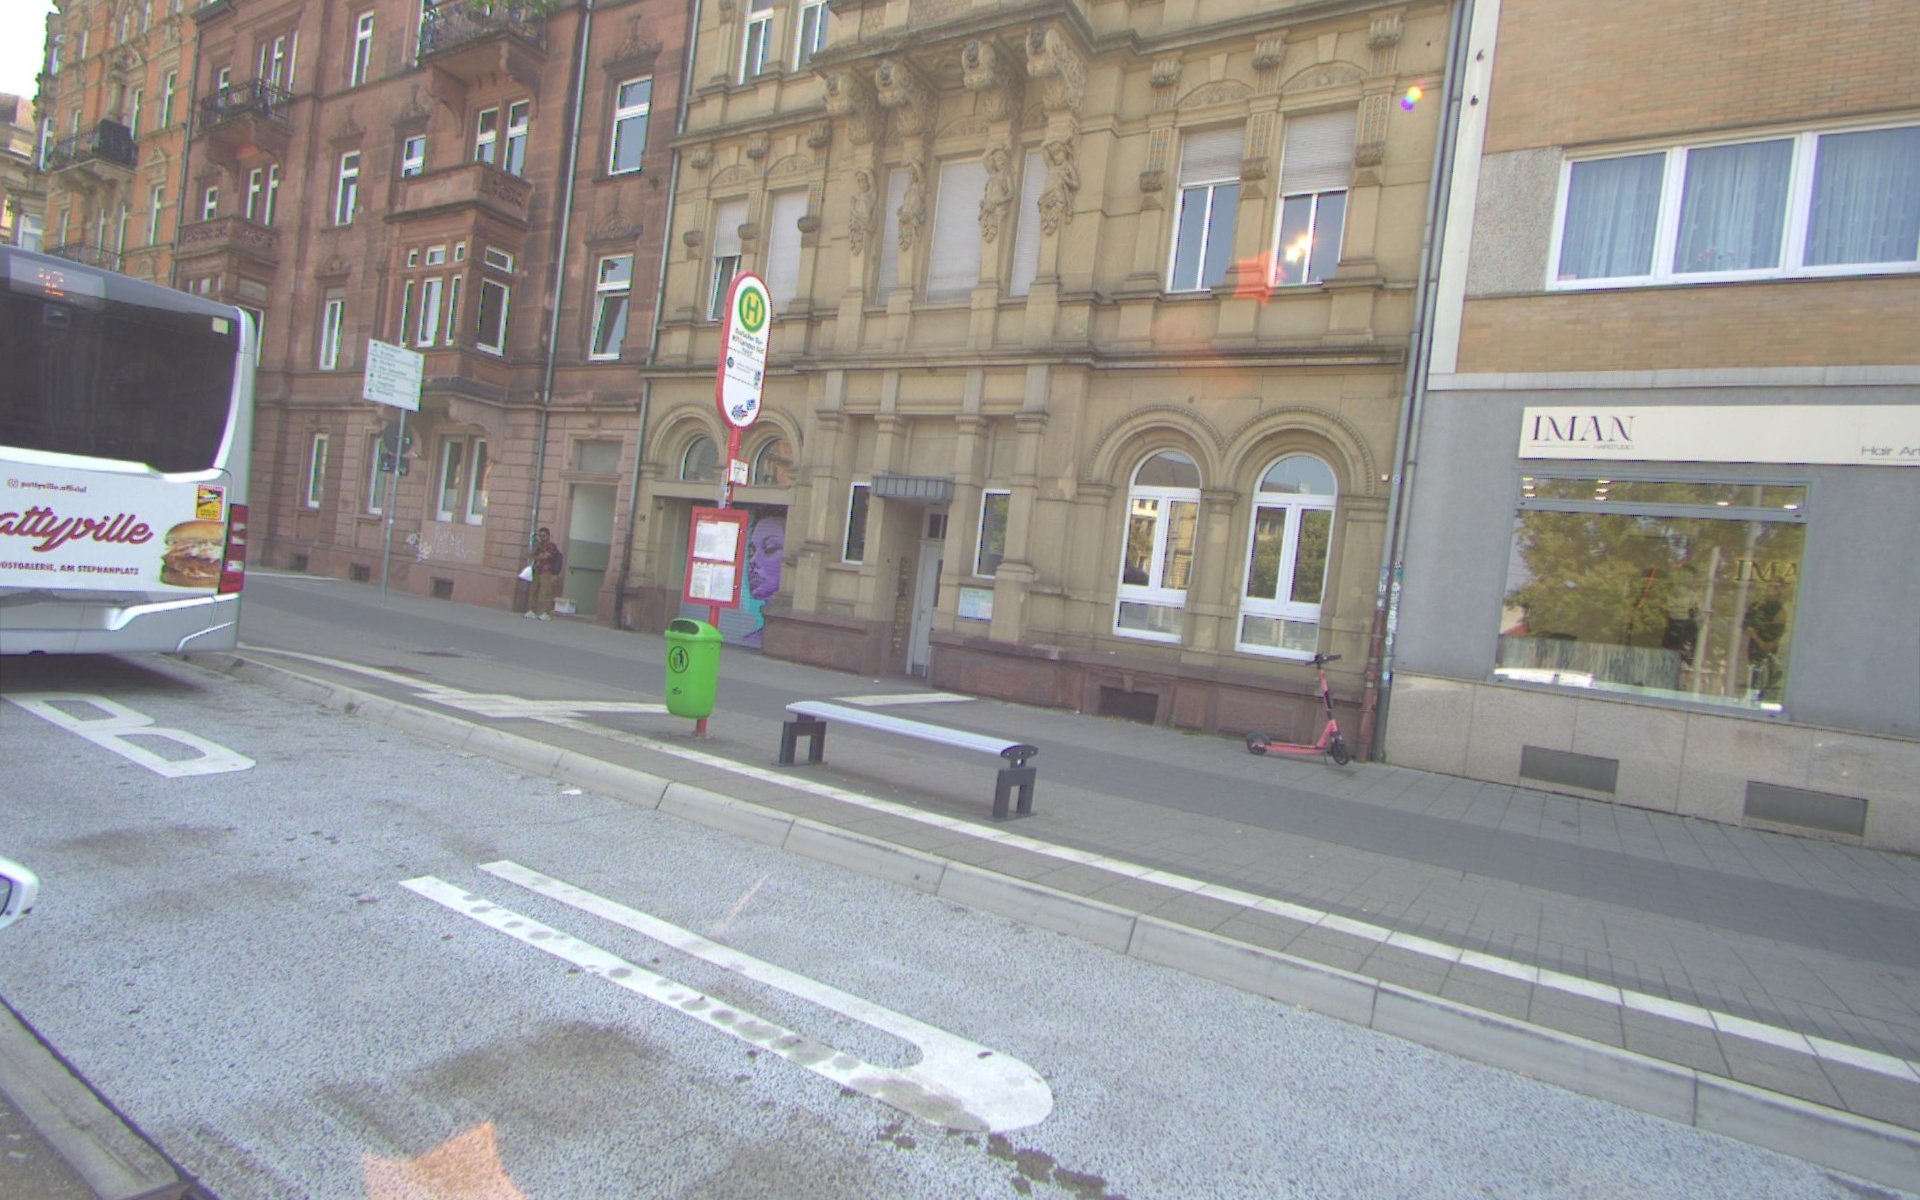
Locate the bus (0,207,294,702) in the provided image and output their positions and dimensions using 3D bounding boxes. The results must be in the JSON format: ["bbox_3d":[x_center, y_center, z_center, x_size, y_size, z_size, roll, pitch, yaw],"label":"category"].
[{"bbox_3d":[-10.875,-1.467,9.902,11.762,3.149,2.742,7,3,33],"label":"bus"}]

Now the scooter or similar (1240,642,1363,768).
[{"bbox_3d":[3.851,1.160,11.357,1.122,1.228,0.476,7,1,27],"label":"scooter or similar"}]

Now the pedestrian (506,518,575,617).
[{"bbox_3d":[-8.085,-0.603,19.414,0.729,1.800,0.870,7,1,4],"label":"pedestrian"}]

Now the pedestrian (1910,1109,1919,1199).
[{"bbox_3d":[2.323,0.797,1.503,0.960,1.763,1.224,3,2,-42],"label":"pedestrian"}]
